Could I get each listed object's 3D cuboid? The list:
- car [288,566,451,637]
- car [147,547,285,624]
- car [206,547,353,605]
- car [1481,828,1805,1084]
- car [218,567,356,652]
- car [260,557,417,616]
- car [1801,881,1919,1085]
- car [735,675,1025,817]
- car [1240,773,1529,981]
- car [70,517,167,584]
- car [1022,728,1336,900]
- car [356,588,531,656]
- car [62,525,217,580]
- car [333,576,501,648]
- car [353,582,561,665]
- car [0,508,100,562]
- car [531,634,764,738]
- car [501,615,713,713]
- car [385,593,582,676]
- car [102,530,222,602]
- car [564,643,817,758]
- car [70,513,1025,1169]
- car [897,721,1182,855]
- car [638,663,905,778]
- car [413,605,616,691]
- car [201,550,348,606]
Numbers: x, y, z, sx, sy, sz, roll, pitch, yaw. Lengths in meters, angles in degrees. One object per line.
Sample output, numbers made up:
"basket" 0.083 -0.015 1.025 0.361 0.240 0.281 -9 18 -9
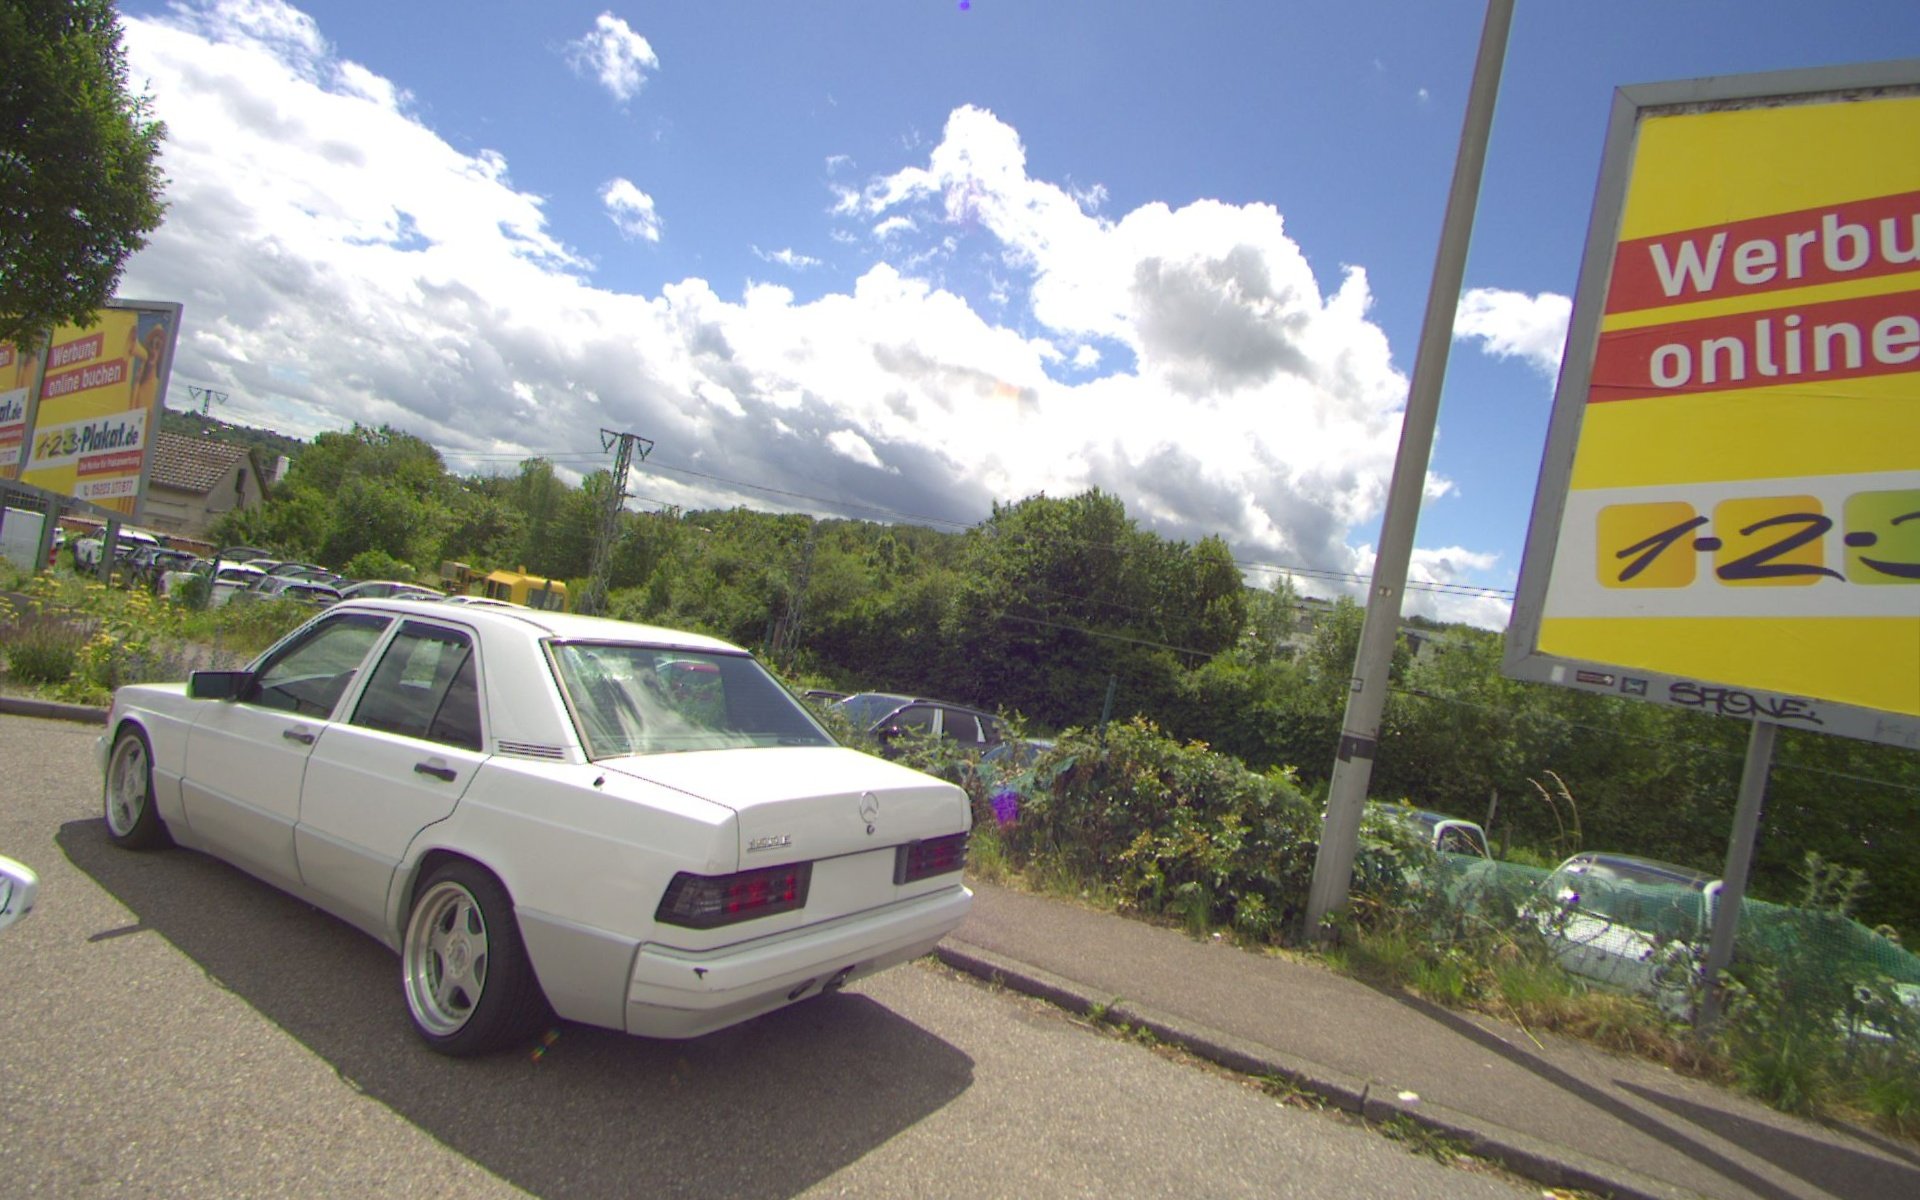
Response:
"car" -18.552 0.086 31.739 1.773 1.630 3.981 7 -2 44
"car" -20.253 -0.419 27.314 4.513 1.536 1.751 7 0 38
"car" -23.289 -0.809 34.498 3.972 1.407 1.579 8 0 -39
"car" 6.764 3.215 9.782 3.976 1.507 1.626 10 -2 -42
"car" -16.379 0.189 24.407 4.096 1.462 1.693 7 -3 42
"car" -20.384 -0.419 33.107 1.721 1.407 4.022 7 -1 44
"car" 9.092 3.395 7.830 3.653 1.274 1.573 7 -2 35
"car" -1.106 2.211 15.100 3.974 1.654 1.697 10 -2 -41
"car" 5.064 2.999 11.685 1.768 1.616 3.984 7 -2 42
"car" -27.981 -1.671 33.401 4.614 1.705 1.747 8 0 42
"car" 2.915 2.720 12.983 3.968 1.659 1.624 9 -2 -37
"car" -14.598 0.643 28.587 1.732 1.345 3.981 7 -2 44
"car" -29.497 -1.698 36.332 3.997 1.407 1.514 8 0 -28
"car" -16.287 0.392 30.321 1.799 1.577 3.981 7 -2 44
"car" -13.310 0.668 26.830 1.972 1.572 4.443 7 -2 41
"car" -33.887 -2.464 36.162 3.988 1.405 1.737 11 -1 -18
"car" -6.112 1.710 19.788 3.961 1.467 1.731 9 -2 -31
"car" -7.685 1.411 22.009 3.961 1.558 1.773 9 -2 -32
"car" -11.714 0.882 24.858 3.976 1.458 1.717 10 -2 -42
"car" -23.913 -1.038 30.100 4.397 1.641 1.811 7 0 39
"car" -4.857 1.841 18.264 3.961 1.504 1.798 9 -2 -31
"car" -1.992 0.595 4.342 4.136 1.403 1.640 7 -2 33
"car" 1.233 2.645 14.344 3.975 1.397 1.646 10 -2 -41
"car" -3.057 2.059 16.815 3.974 1.462 1.657 10 -2 -41
"car" -10.166 1.110 23.044 3.994 1.369 1.726 9 -2 -28
"car" -24.811 -0.776 36.476 4.157 1.407 1.770 8 -1 -40
